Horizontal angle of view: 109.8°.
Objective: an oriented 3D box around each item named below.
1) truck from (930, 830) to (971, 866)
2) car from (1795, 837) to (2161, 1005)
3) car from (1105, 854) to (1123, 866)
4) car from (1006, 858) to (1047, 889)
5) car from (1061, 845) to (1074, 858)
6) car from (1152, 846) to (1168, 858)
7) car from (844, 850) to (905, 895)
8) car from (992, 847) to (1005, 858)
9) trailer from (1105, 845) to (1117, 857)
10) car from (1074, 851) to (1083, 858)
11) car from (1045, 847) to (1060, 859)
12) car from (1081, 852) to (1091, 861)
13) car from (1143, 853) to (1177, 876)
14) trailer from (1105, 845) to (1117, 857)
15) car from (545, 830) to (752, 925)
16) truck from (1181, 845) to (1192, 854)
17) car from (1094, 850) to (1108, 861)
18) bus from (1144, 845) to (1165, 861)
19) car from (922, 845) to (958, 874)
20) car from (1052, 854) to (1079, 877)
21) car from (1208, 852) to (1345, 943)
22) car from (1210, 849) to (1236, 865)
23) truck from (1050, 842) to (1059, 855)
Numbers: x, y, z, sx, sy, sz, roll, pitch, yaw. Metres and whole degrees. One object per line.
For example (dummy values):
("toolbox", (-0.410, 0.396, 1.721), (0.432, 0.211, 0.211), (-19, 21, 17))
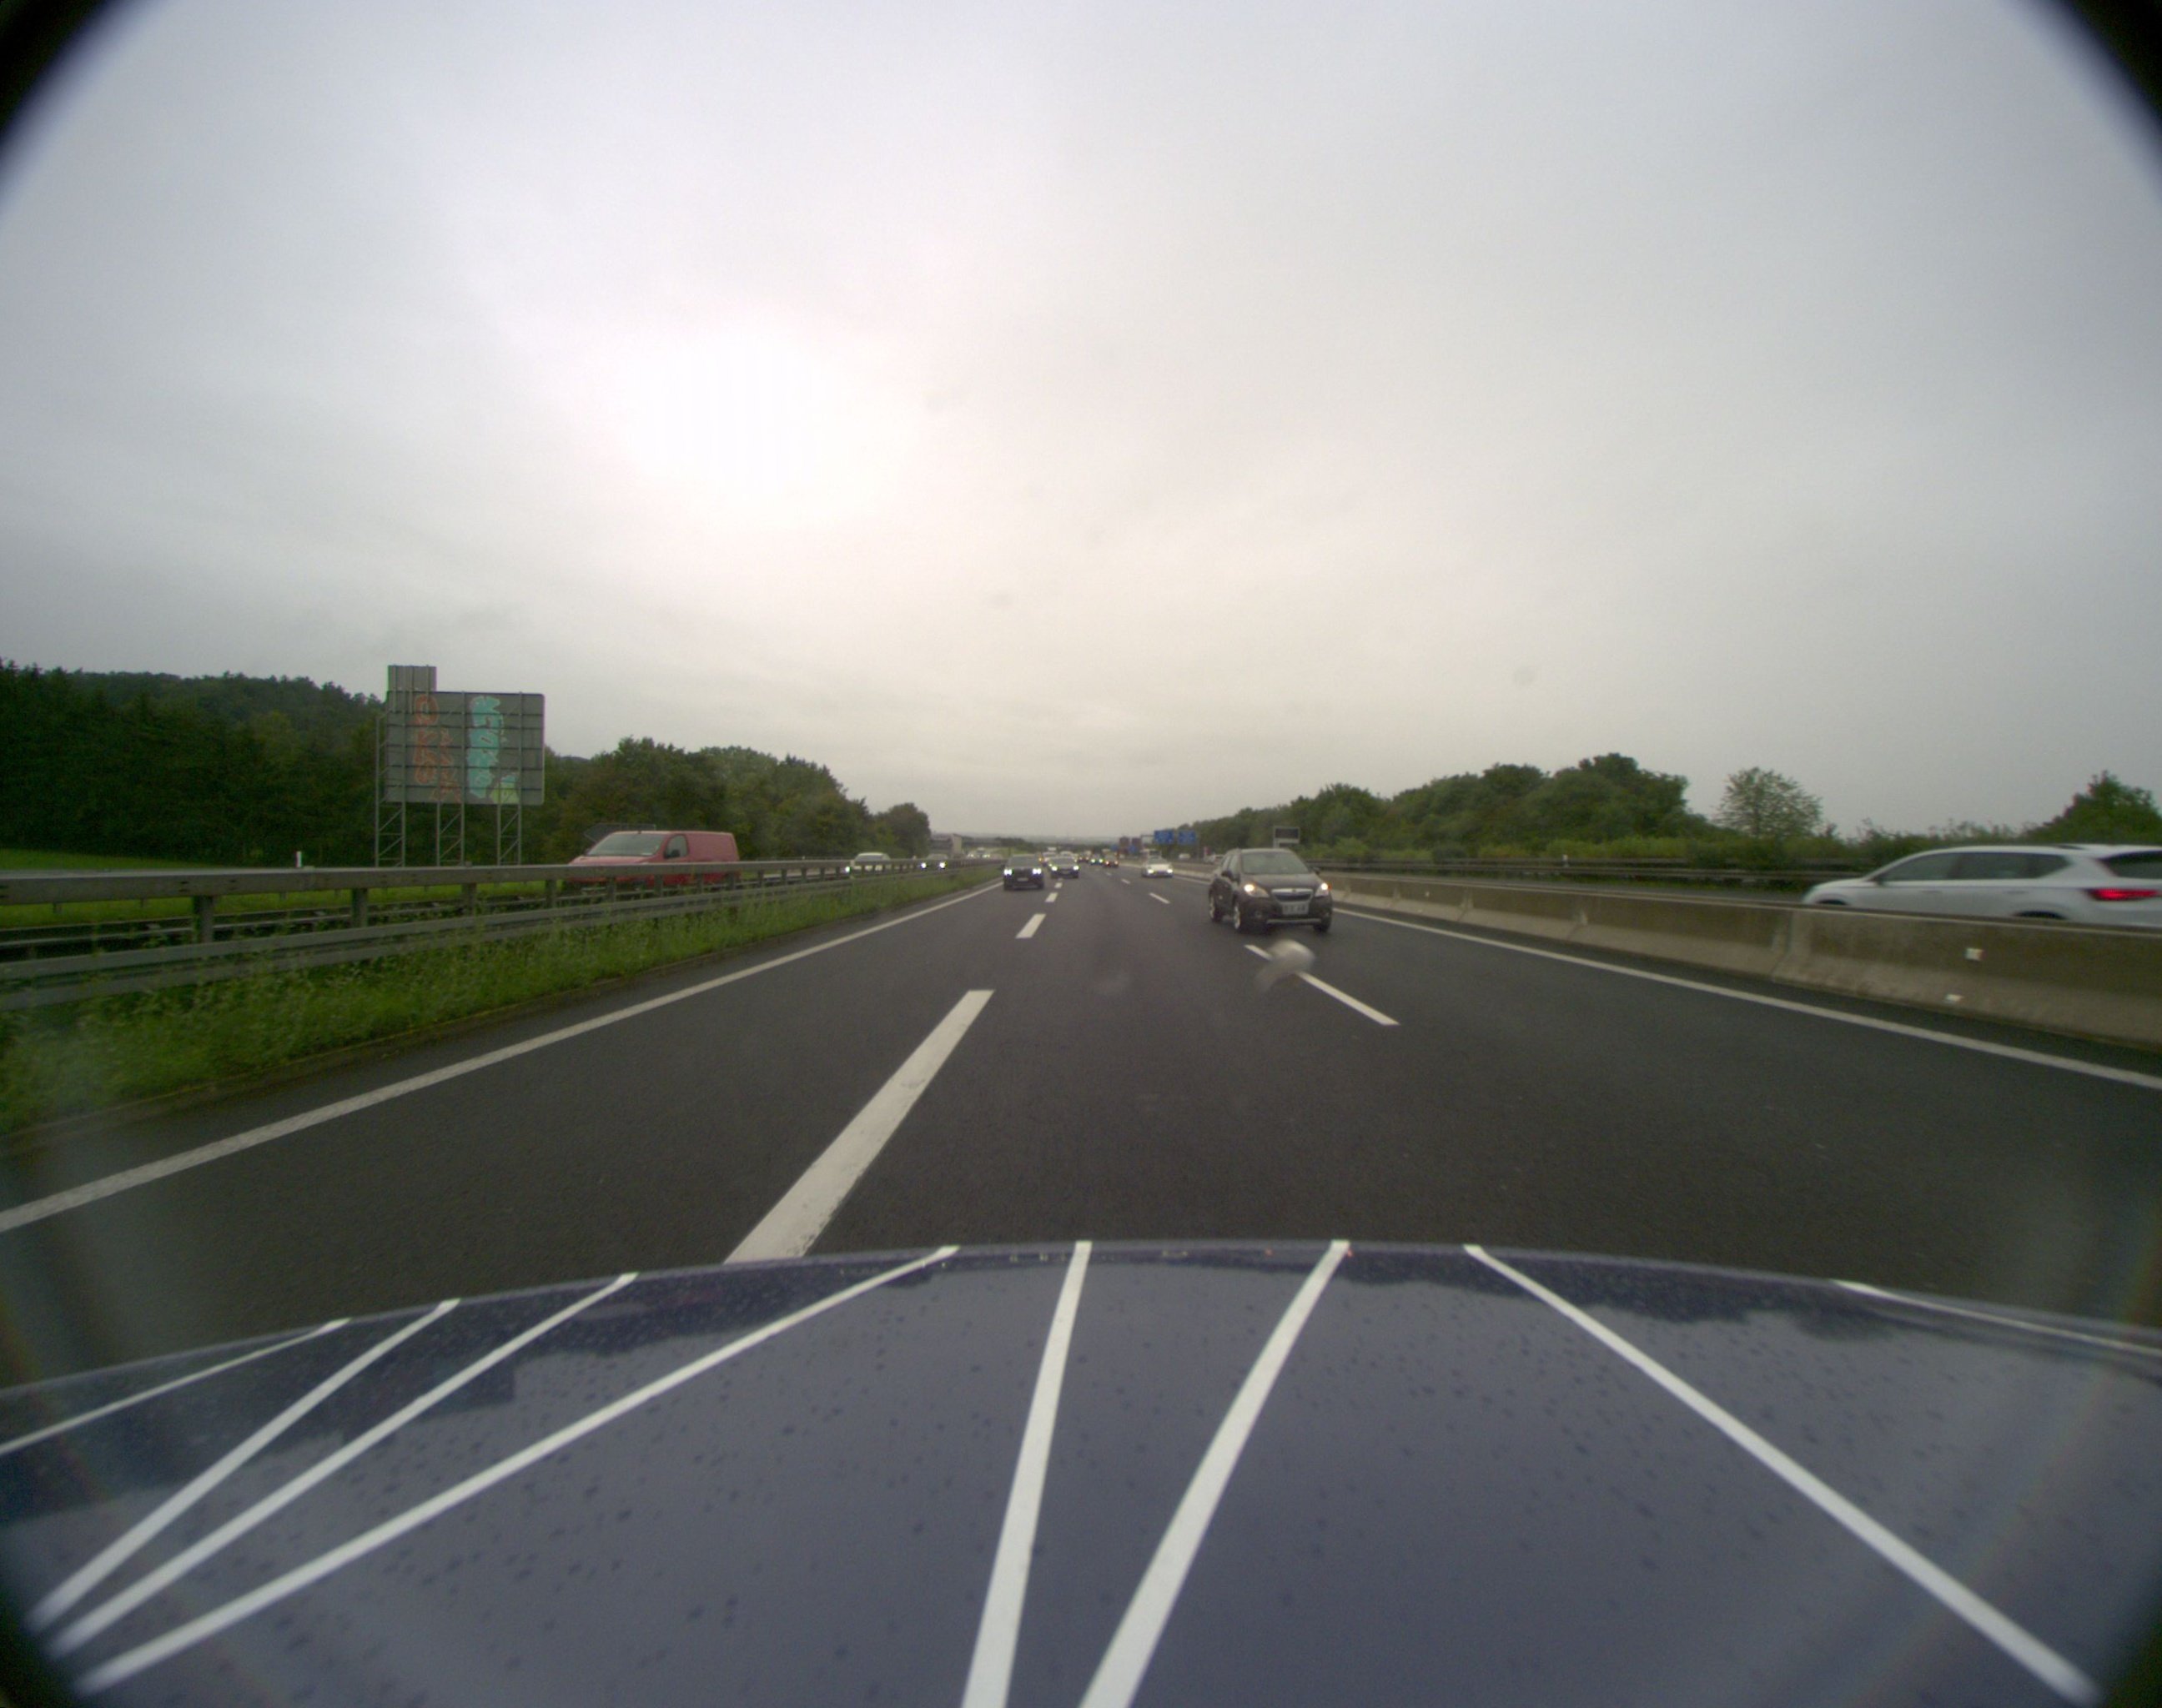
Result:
("truck", (-14.866, -0.730, 87.053), (2.798, 3.878, 10.027), (0, 1, 1))
("car", (13.037, 0.730, 10.797), (1.742, 1.908, 4.316), (0, 1, 1))
("car", (4.038, 0.698, 92.430), (1.726, 1.397, 4.565), (-1, 1, -4))
("car", (-2.692, 0.930, 38.315), (1.867, 1.349, 4.565), (-1, 1, -2))
("car", (-2.304, -0.417, 127.090), (2.017, 1.994, 4.565), (-1, 1, -4))
("car", (12.177, -0.323, 116.727), (1.999, 1.701, 4.302), (0, 1, 0))
("car", (-9.930, 0.852, 36.826), (1.752, 2.002, 4.497), (0, 1, -1))
("car", (-14.242, -0.276, 131.307), (1.752, 2.002, 4.498), (0, 1, 1))
("trailer", (9.188, -0.914, 231.894), (2.911, 3.727, 8.924), (-1, 1, -2))
("car", (-0.640, 0.173, 170.960), (1.726, 1.481, 4.565), (-1, 1, -4))
("car", (-3.901, -0.146, 103.474), (1.975, 1.674, 3.998), (-1, 1, -5))
("car", (0.926, 0.503, 146.111), (1.726, 1.481, 4.565), (0, 2, -2))
("car", (5.386, 0.698, 52.497), (1.726, 1.481, 4.565), (-1, 1, -2))
("trailer", (9.188, -0.914, 231.894), (2.911, 3.727, 8.924), (-1, 1, -2))
("car", (-10.341, 0.472, 18.784), (2.129, 2.002, 5.076), (0, 1, 1))
("truck", (27.099, -1.166, 195.486), (2.030, 2.229, 6.158), (0, 0, -1))
("car", (3.075, 0.182, 116.620), (1.782, 1.669, 4.565), (-1, 1, -4))
("bus", (14.342, -0.224, 149.103), (2.705, 2.941, 11.895), (0, 1, -1))
("car", (-10.438, 0.364, 56.370), (1.752, 2.002, 4.498), (0, 1, 1))
("car", (-1.136, 0.797, 54.457), (1.886, 1.519, 3.999), (-1, 1, -2))
("car", (3.835, 0.782, 15.570), (1.813, 1.571, 3.834), (0, 1, 0))
("car", (15.059, 0.328, 80.744), (1.896, 1.640, 4.602), (0, 1, 0))
("truck", (-8.448, -1.797, 245.093), (2.799, 3.878, 10.025), (0, 1, -1))
